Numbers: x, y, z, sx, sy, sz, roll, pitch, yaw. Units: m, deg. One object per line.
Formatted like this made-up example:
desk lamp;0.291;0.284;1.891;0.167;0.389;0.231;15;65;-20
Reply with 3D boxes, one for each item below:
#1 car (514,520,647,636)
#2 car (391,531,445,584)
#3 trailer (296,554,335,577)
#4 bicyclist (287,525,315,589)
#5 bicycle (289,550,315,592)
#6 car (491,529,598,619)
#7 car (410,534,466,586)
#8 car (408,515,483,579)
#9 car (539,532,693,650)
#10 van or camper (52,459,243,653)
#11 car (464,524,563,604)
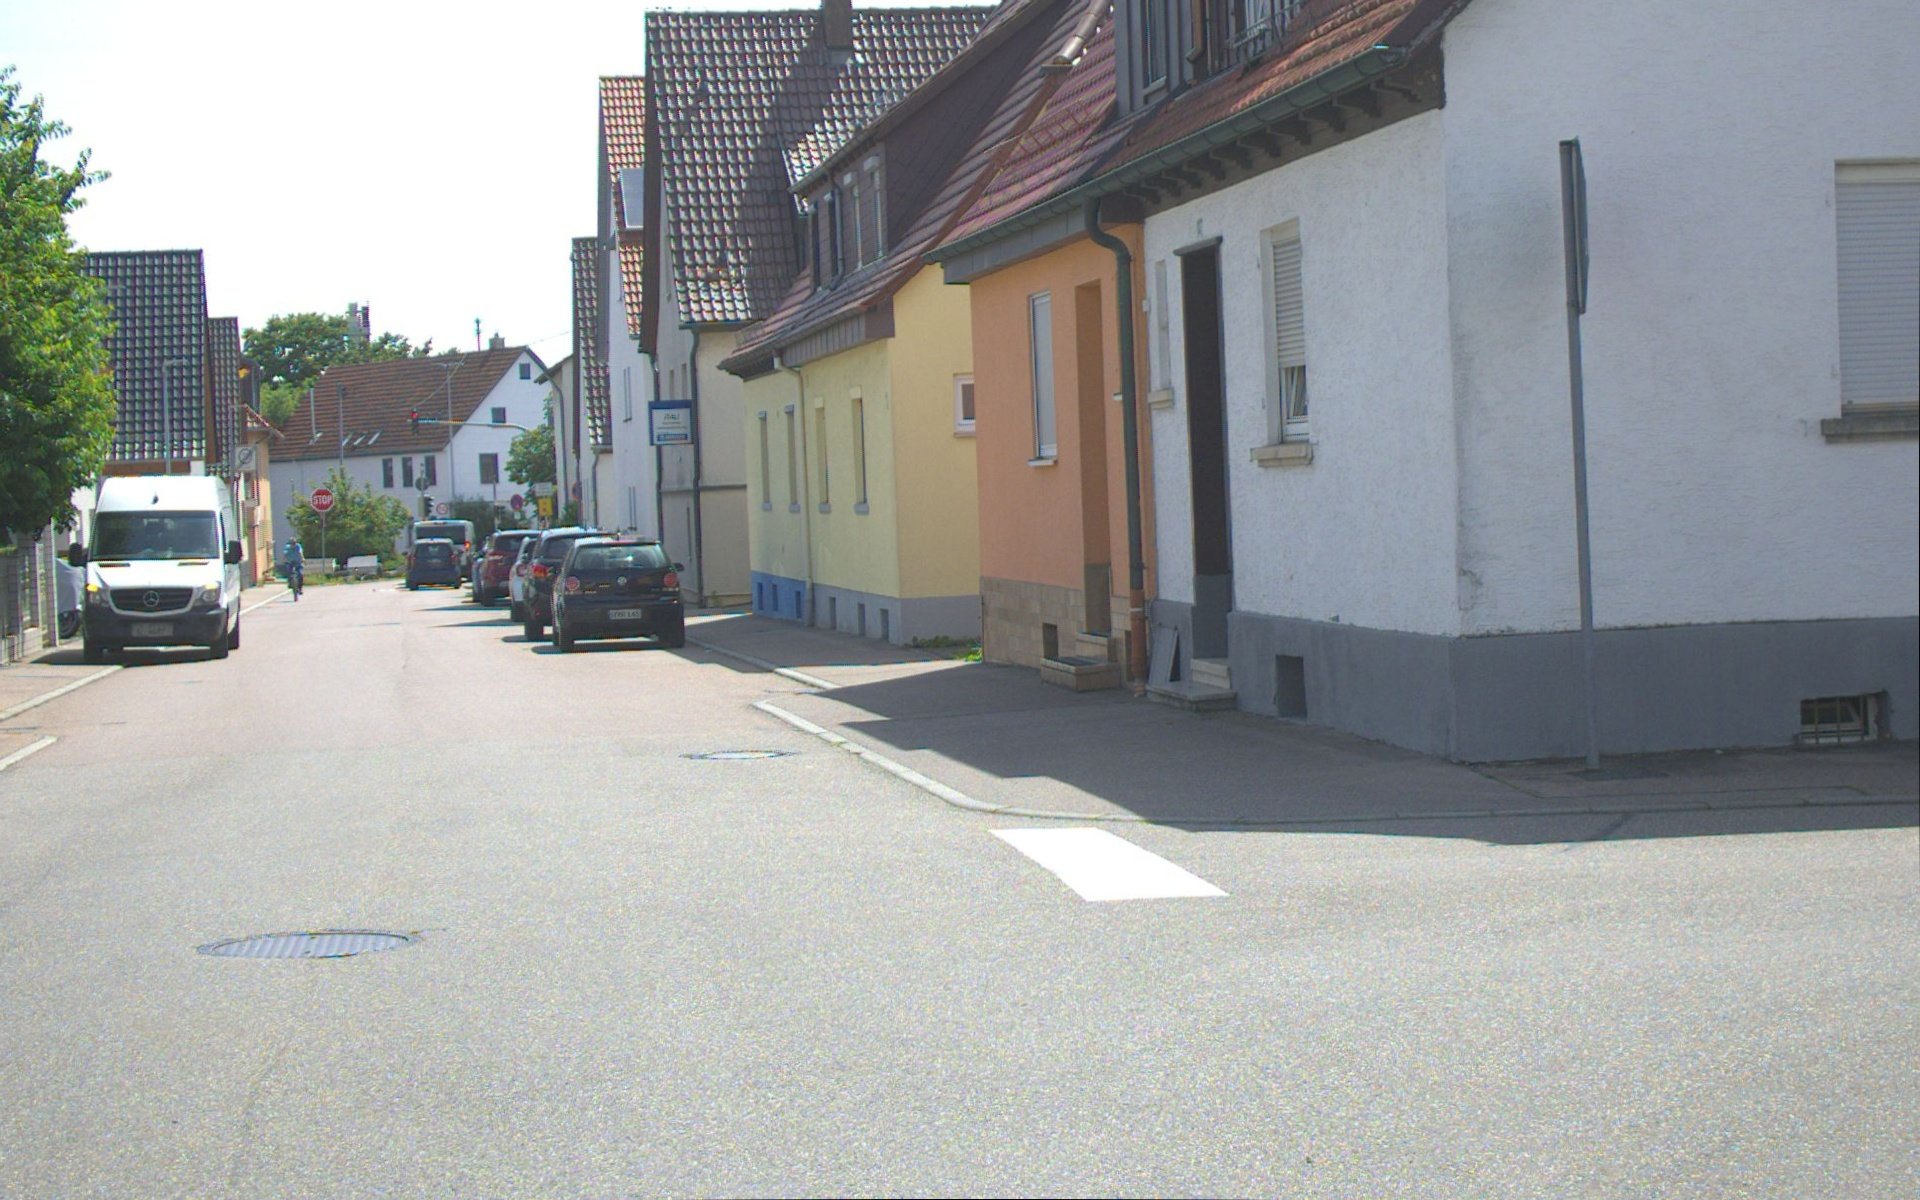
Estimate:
car;-5.648;-0.355;50.882;1.728;1.594;4.254;-2;1;-9
car;-17.712;-1.392;112.403;1.515;1.619;3.185;-3;1;-6
trailer;-25.633;-1.372;136.755;1.501;0.924;1.012;-1;1;-8
bicyclist;-18.793;-1.233;98.093;0.713;1.792;0.942;-2;1;-11
bicycle;-18.761;-0.836;98.110;0.670;1.128;2.190;-2;1;-10
car;-7.595;-0.487;62.666;1.673;1.553;3.041;-2;1;-11
car;-16.383;-1.275;108.003;1.515;1.561;3.185;-2;1;-6
car;-18.235;-1.899;122.063;2.128;2.151;4.737;-3;1;-3
car;-4.560;-0.149;45.205;1.610;1.426;3.755;-2;1;-11
van or camper;-11.645;-0.663;49.672;2.184;2.563;6.809;-2;1;-10
car;-10.085;-0.833;77.506;1.875;1.694;4.184;-2;1;-11
